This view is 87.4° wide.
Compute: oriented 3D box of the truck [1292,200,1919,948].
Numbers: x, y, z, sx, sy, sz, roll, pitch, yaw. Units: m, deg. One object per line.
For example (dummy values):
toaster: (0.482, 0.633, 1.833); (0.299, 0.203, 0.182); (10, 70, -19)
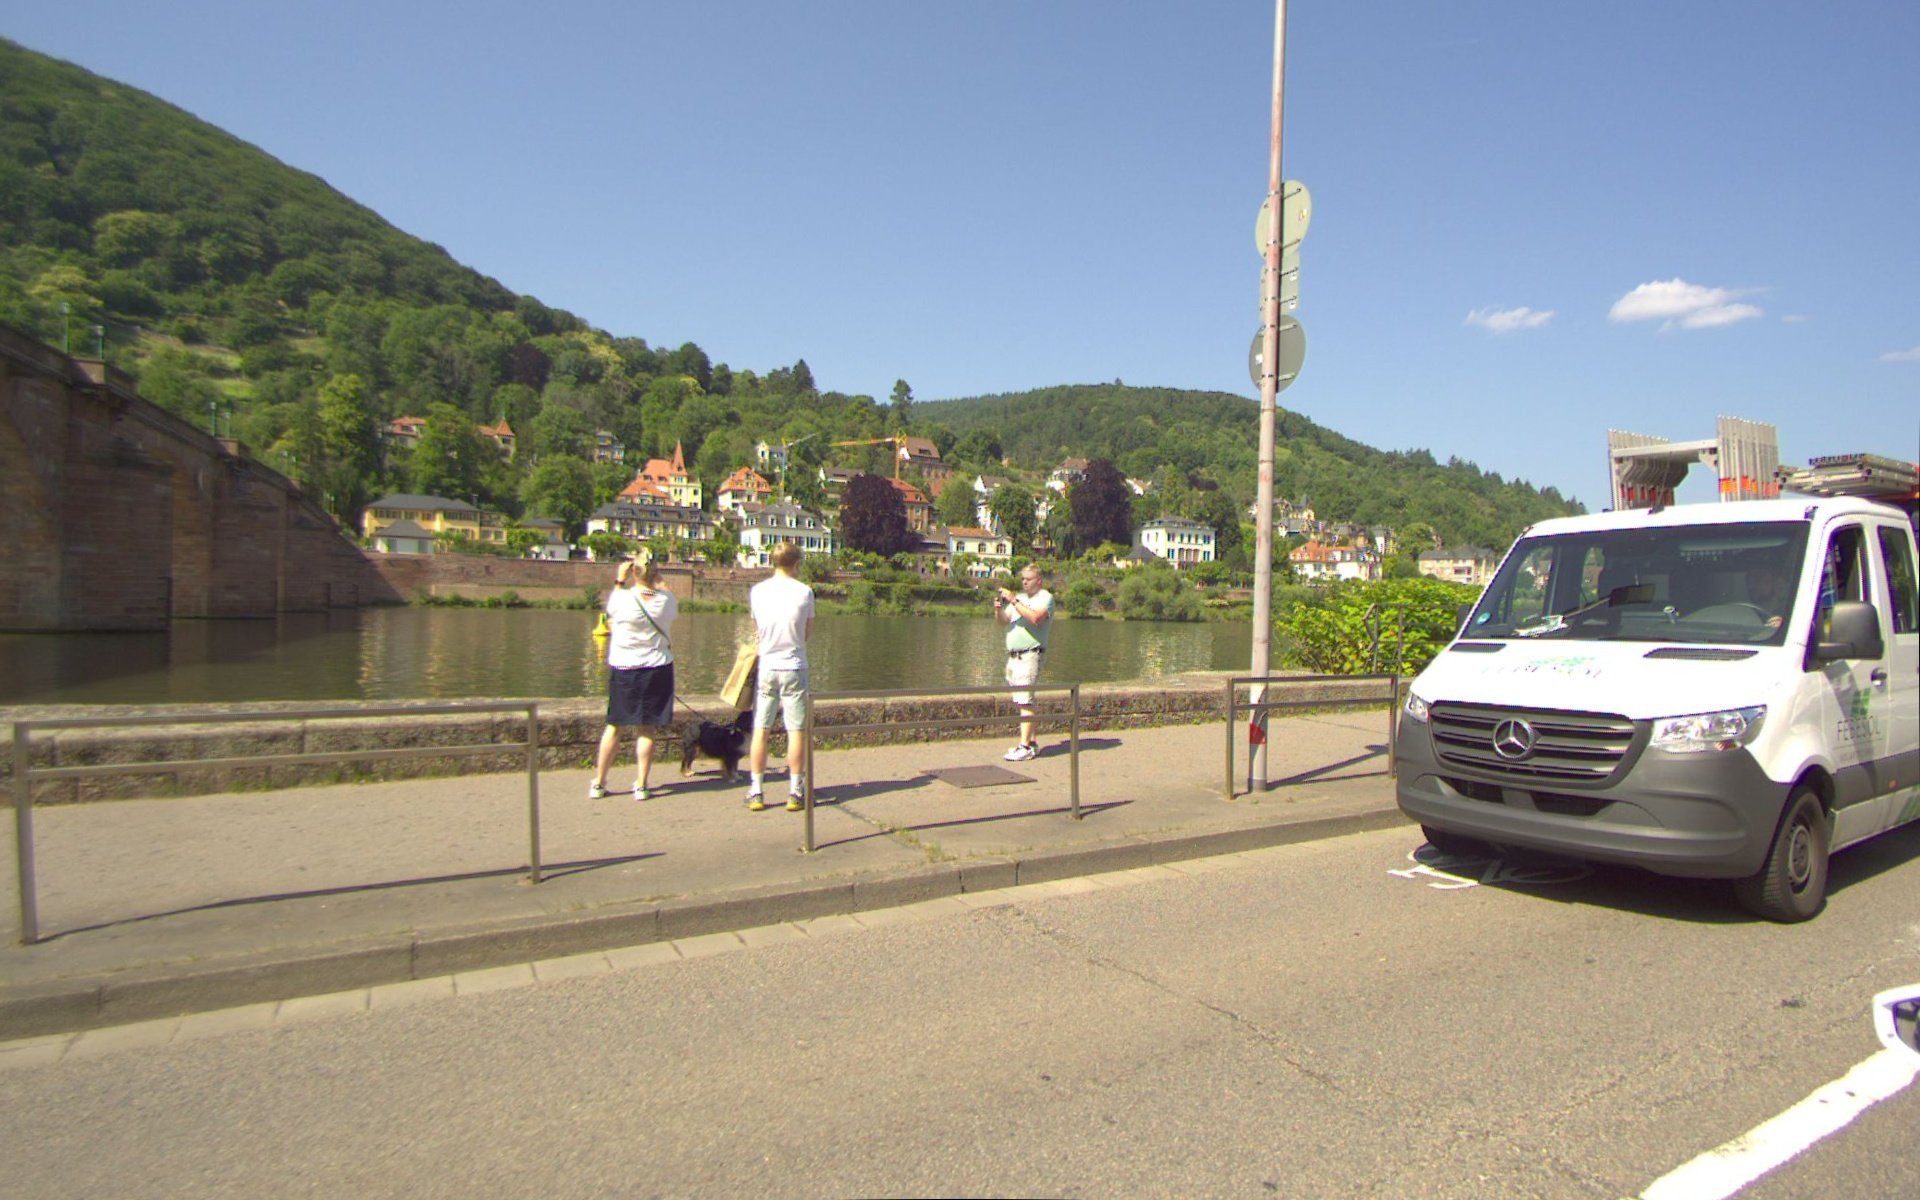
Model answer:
truck: (5.934, -0.043, 7.491); (7.529, 3.304, 2.363); (1, -2, -33)

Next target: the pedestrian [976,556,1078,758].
pedestrian: (0.616, 0.491, 9.112); (0.742, 1.745, 0.544); (2, 1, 24)

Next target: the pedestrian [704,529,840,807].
pedestrian: (-1.266, 0.448, 6.861); (0.806, 1.817, 0.522); (1, 1, -2)

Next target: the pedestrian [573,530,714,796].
pedestrian: (-2.246, 0.433, 7.194); (0.806, 1.817, 0.544); (1, 1, -2)
